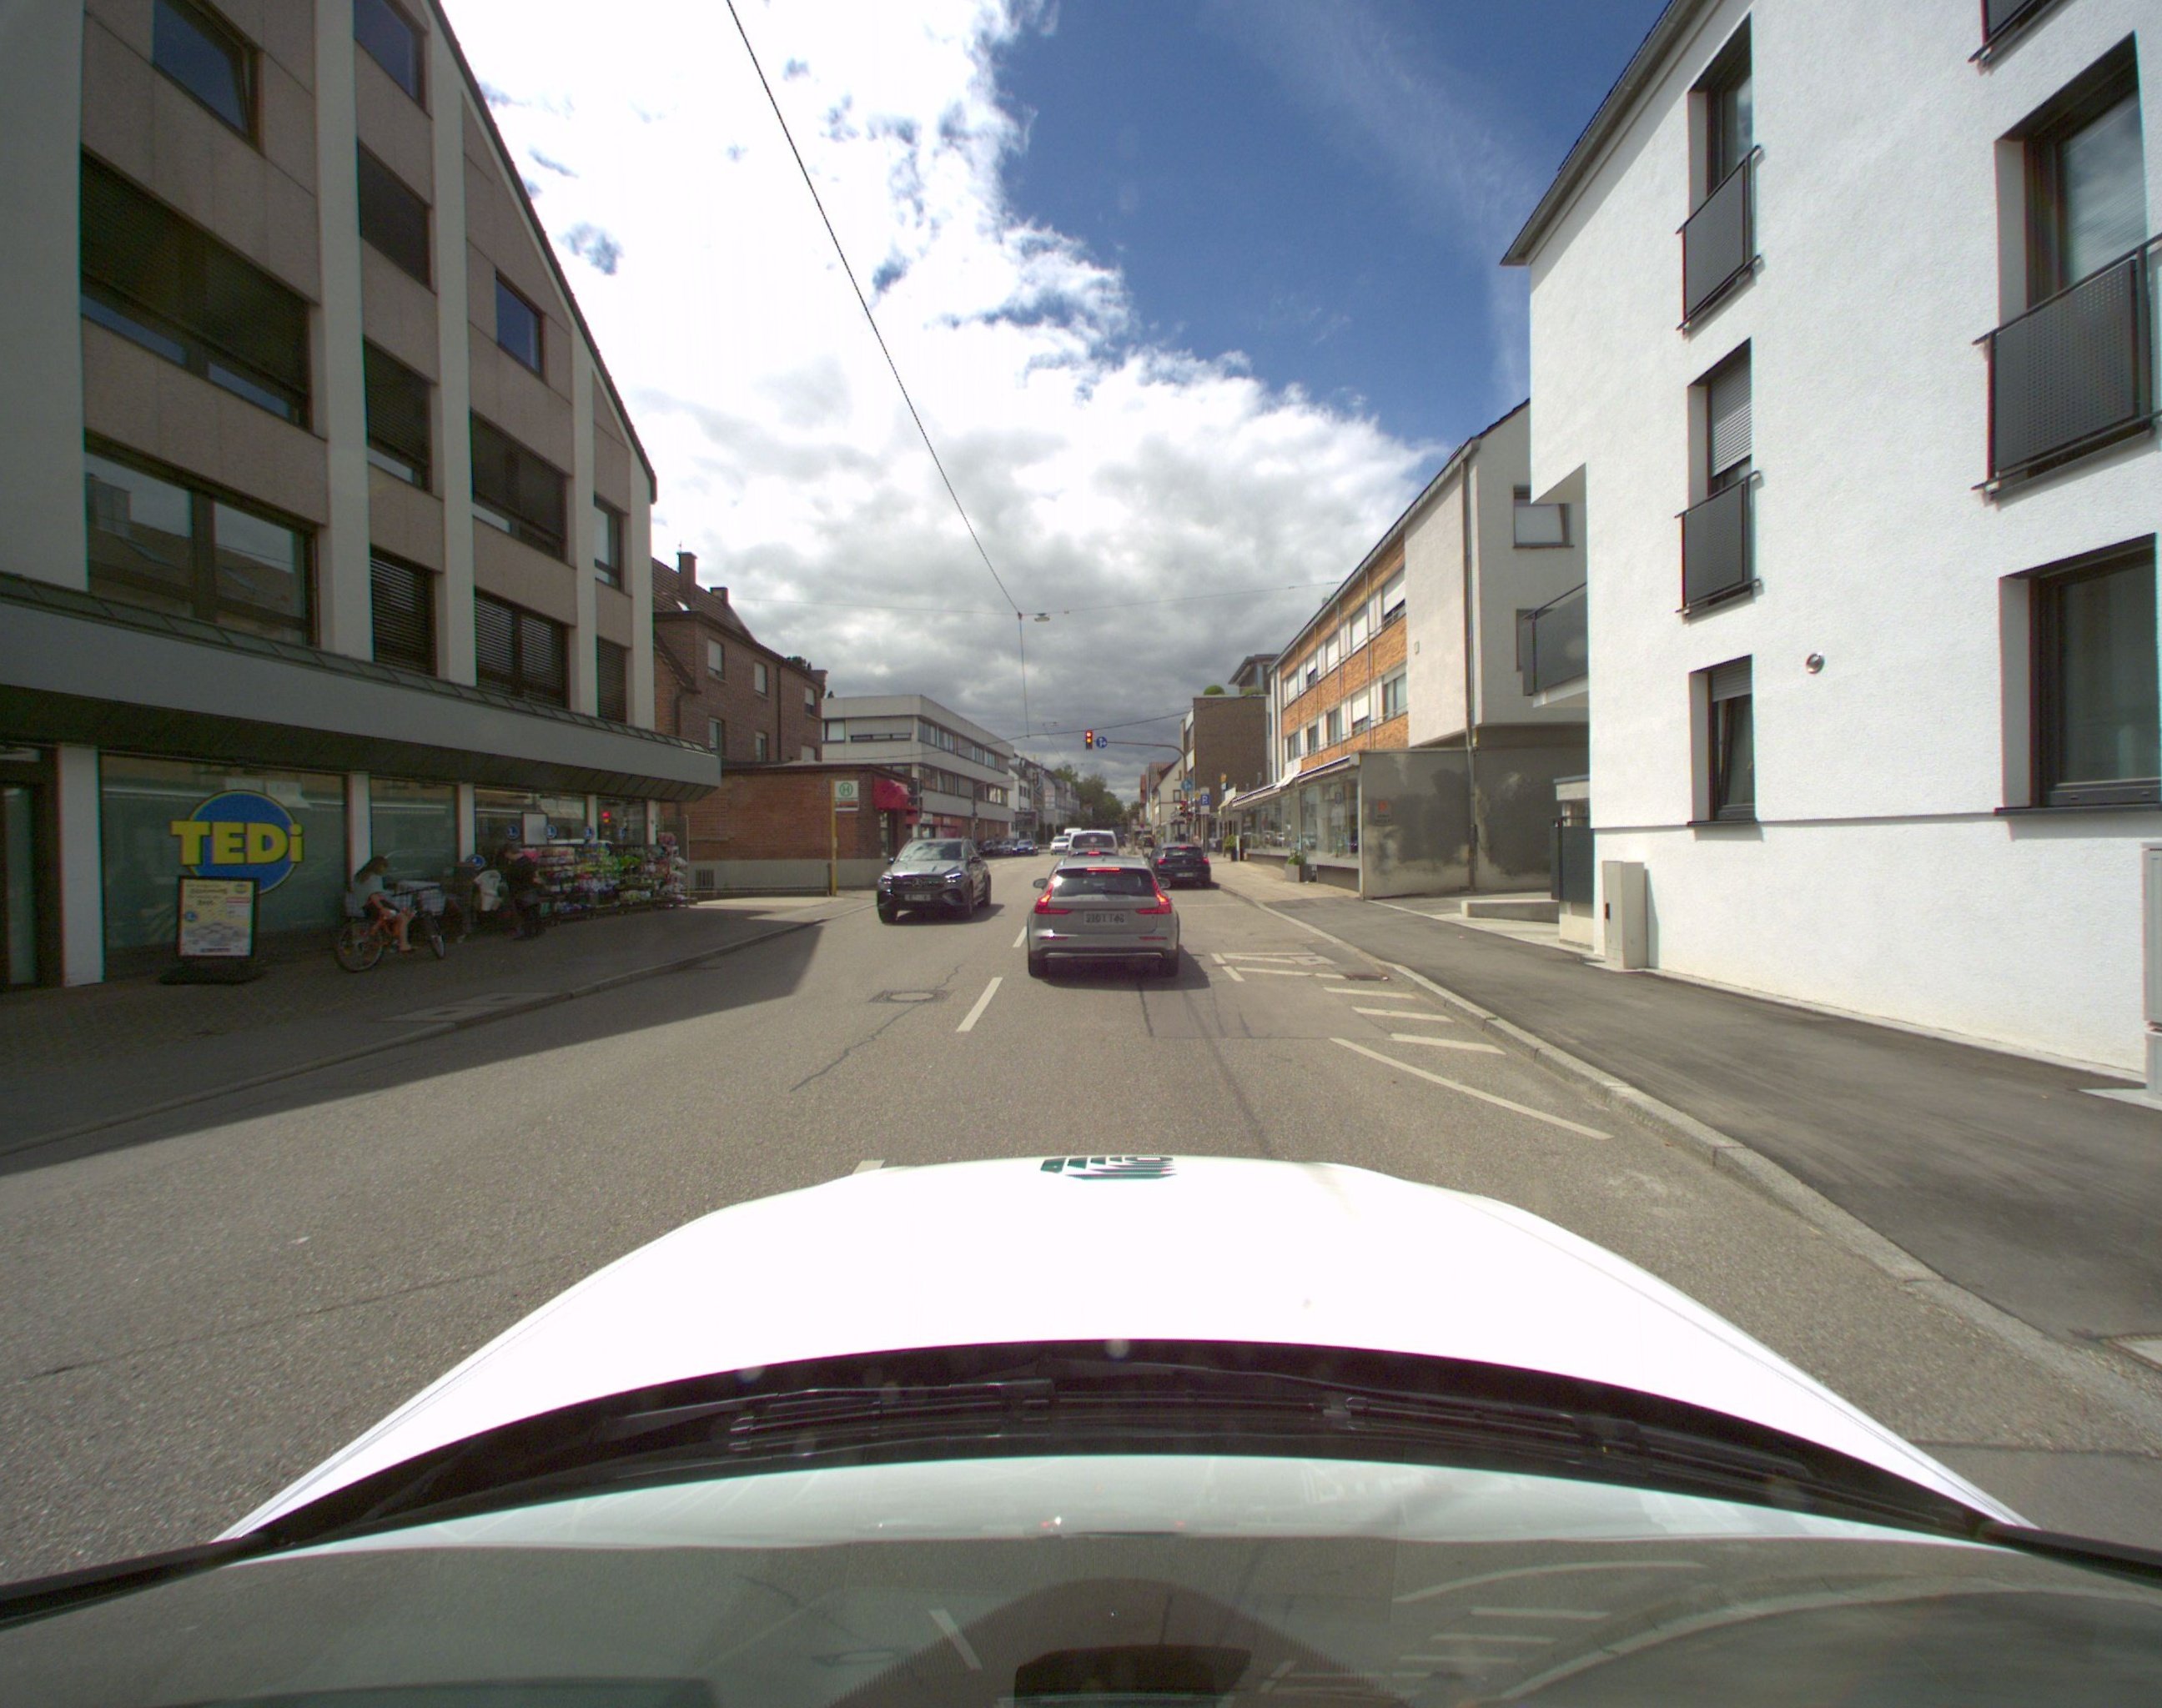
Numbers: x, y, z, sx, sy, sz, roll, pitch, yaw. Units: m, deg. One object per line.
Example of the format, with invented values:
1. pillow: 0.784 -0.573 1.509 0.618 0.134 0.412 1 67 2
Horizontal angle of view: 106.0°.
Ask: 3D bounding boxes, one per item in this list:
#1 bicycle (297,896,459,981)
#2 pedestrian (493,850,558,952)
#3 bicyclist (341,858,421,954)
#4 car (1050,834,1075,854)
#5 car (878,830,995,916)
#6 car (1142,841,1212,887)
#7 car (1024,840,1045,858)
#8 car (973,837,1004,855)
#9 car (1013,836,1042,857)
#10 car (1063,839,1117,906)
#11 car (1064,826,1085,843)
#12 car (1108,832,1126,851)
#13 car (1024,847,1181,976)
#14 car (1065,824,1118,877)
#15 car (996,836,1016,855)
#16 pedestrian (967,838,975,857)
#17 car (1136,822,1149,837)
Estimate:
1. bicycle: -8.834 1.027 10.342 0.465 0.861 1.778 0 1 2
2. pedestrian: -8.956 0.745 13.144 0.625 1.603 0.563 0 -1 6
3. bicyclist: -8.868 0.642 10.340 0.456 1.179 0.625 -1 -1 2
4. car: -1.613 -0.878 72.427 1.864 1.640 4.005 0 -1 5
5. car: -3.199 0.385 18.879 1.833 1.726 4.352 -1 0 1
6. car: 3.095 0.272 26.905 1.748 1.371 3.998 -1 1 -1
7. car: -5.371 -0.526 94.943 1.986 2.014 4.002 0 -1 2
8. car: -7.858 -0.674 69.819 1.985 1.398 4.002 0 -1 3
9. car: -4.518 -0.629 69.491 1.864 1.640 4.005 0 -1 5
10. car: 0.259 0.423 21.212 1.269 1.527 3.052 -1 2 2
11. car: -0.666 -2.068 88.142 1.864 1.640 4.004 -1 -2 4
12. car: 4.847 -1.669 110.800 2.427 2.318 5.329 0 -1 2
13. car: 0.323 0.676 11.167 1.737 1.417 4.002 -1 -1 2
14. car: 0.448 -0.097 30.472 1.829 1.862 3.852 0 -1 2
15. car: -6.903 -0.771 74.809 1.379 1.541 3.400 -1 -2 2
16. pedestrian: -8.502 -0.498 62.839 0.515 1.436 0.487 -1 -1 -17
17. car: 9.357 -3.749 124.391 1.795 2.014 4.002 -1 -2 2
